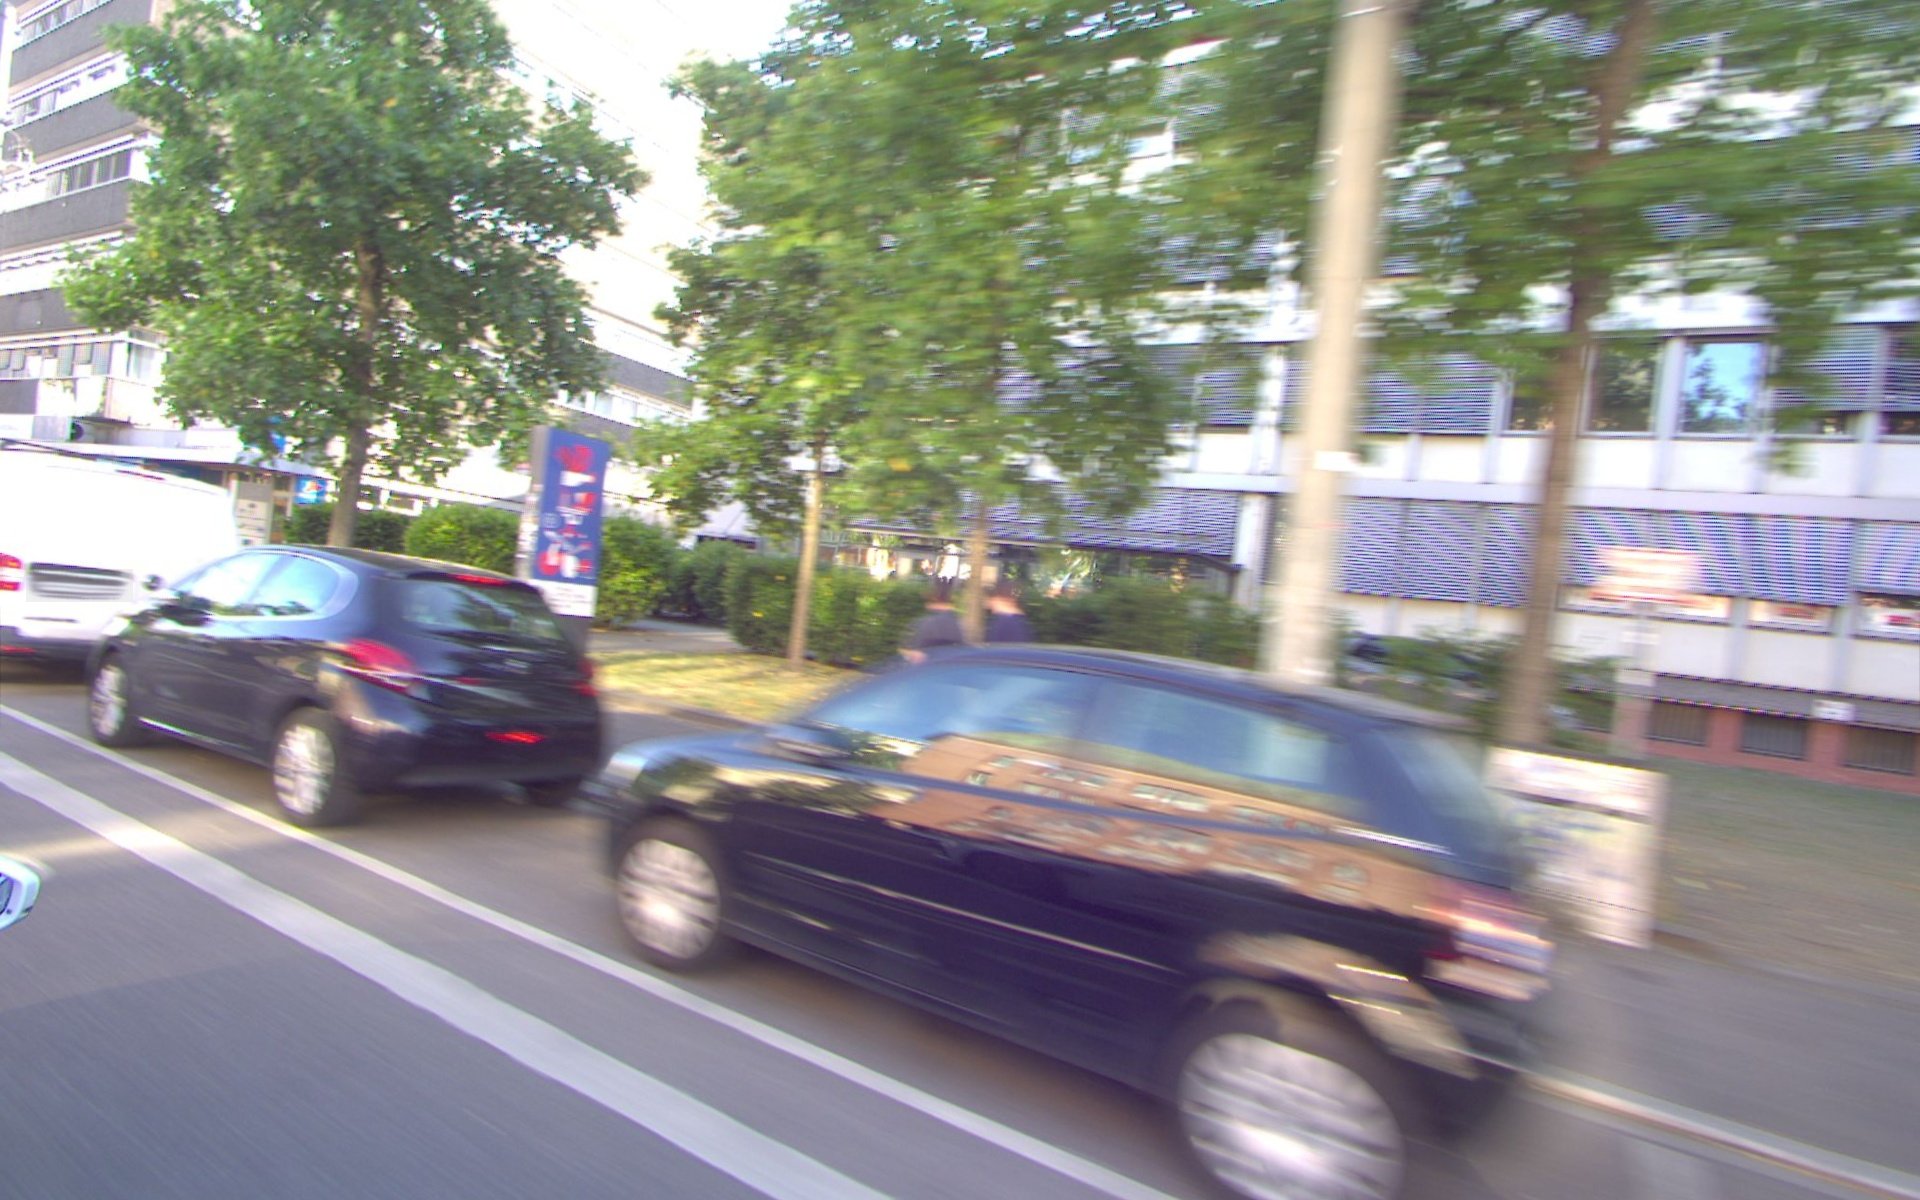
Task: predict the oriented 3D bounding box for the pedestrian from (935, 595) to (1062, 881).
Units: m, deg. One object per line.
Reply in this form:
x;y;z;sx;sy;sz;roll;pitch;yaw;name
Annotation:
0.244;0.869;6.472;0.424;1.731;0.448;6;1;-41;pedestrian

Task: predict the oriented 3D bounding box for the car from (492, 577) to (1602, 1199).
0.135;0.879;4.017;3.918;1.448;1.624;6;-2;32;car

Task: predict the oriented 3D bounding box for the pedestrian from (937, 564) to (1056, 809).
0.271;0.637;7.503;0.496;1.732;0.448;5;3;-41;pedestrian

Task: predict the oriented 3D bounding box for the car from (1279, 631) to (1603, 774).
7.659;1.566;16.276;4.361;1.513;1.869;7;0;29;car

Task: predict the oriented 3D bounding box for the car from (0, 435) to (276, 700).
-8.830;-0.384;9.670;4.483;2.039;1.973;6;0;32;car

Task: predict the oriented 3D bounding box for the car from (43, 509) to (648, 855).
-4.085;0.384;6.532;3.904;1.490;1.624;6;-2;31;car
